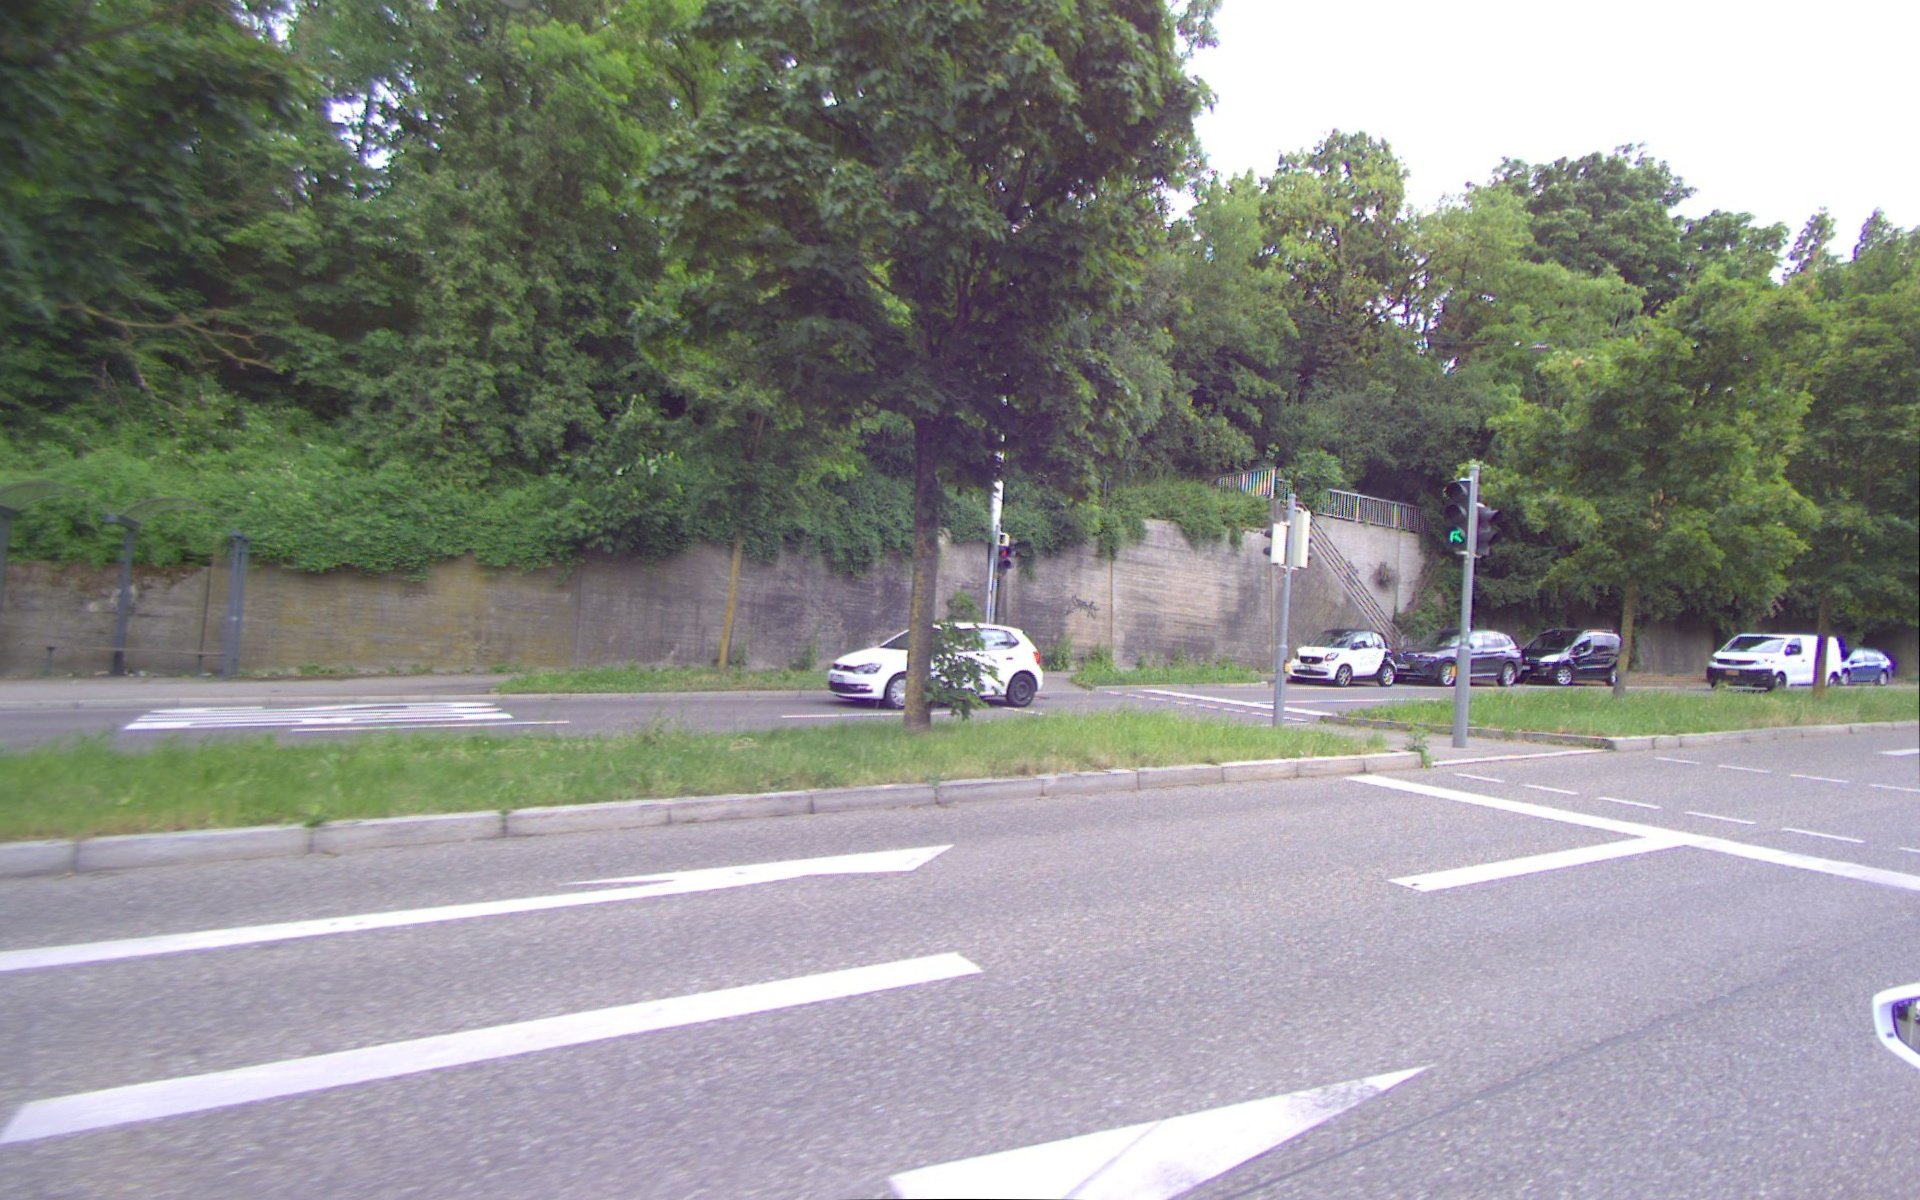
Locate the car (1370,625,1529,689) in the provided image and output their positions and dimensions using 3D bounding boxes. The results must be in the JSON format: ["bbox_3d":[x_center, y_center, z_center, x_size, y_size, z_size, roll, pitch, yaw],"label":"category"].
[{"bbox_3d":[14.647,1.714,30.016,4.475,1.678,1.962,3,0,-27],"label":"car"}]

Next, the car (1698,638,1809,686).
[{"bbox_3d":[30.230,2.357,38.262,4.117,1.650,1.773,2,0,-27],"label":"car"}]

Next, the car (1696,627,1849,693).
[{"bbox_3d":[26.711,1.975,33.004,4.954,1.984,1.933,2,0,-25],"label":"car"}]

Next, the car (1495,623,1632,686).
[{"bbox_3d":[19.661,1.766,32.693,4.433,1.867,1.772,2,0,-28],"label":"car"}]

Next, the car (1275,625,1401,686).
[{"bbox_3d":[10.504,1.515,27.886,3.064,1.518,1.770,2,0,-32],"label":"car"}]

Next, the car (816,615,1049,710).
[{"bbox_3d":[-0.463,1.073,17.765,3.747,1.447,1.720,2,0,-31],"label":"car"}]

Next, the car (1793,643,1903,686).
[{"bbox_3d":[36.042,2.612,40.762,4.241,1.549,1.708,2,0,-23],"label":"car"}]
